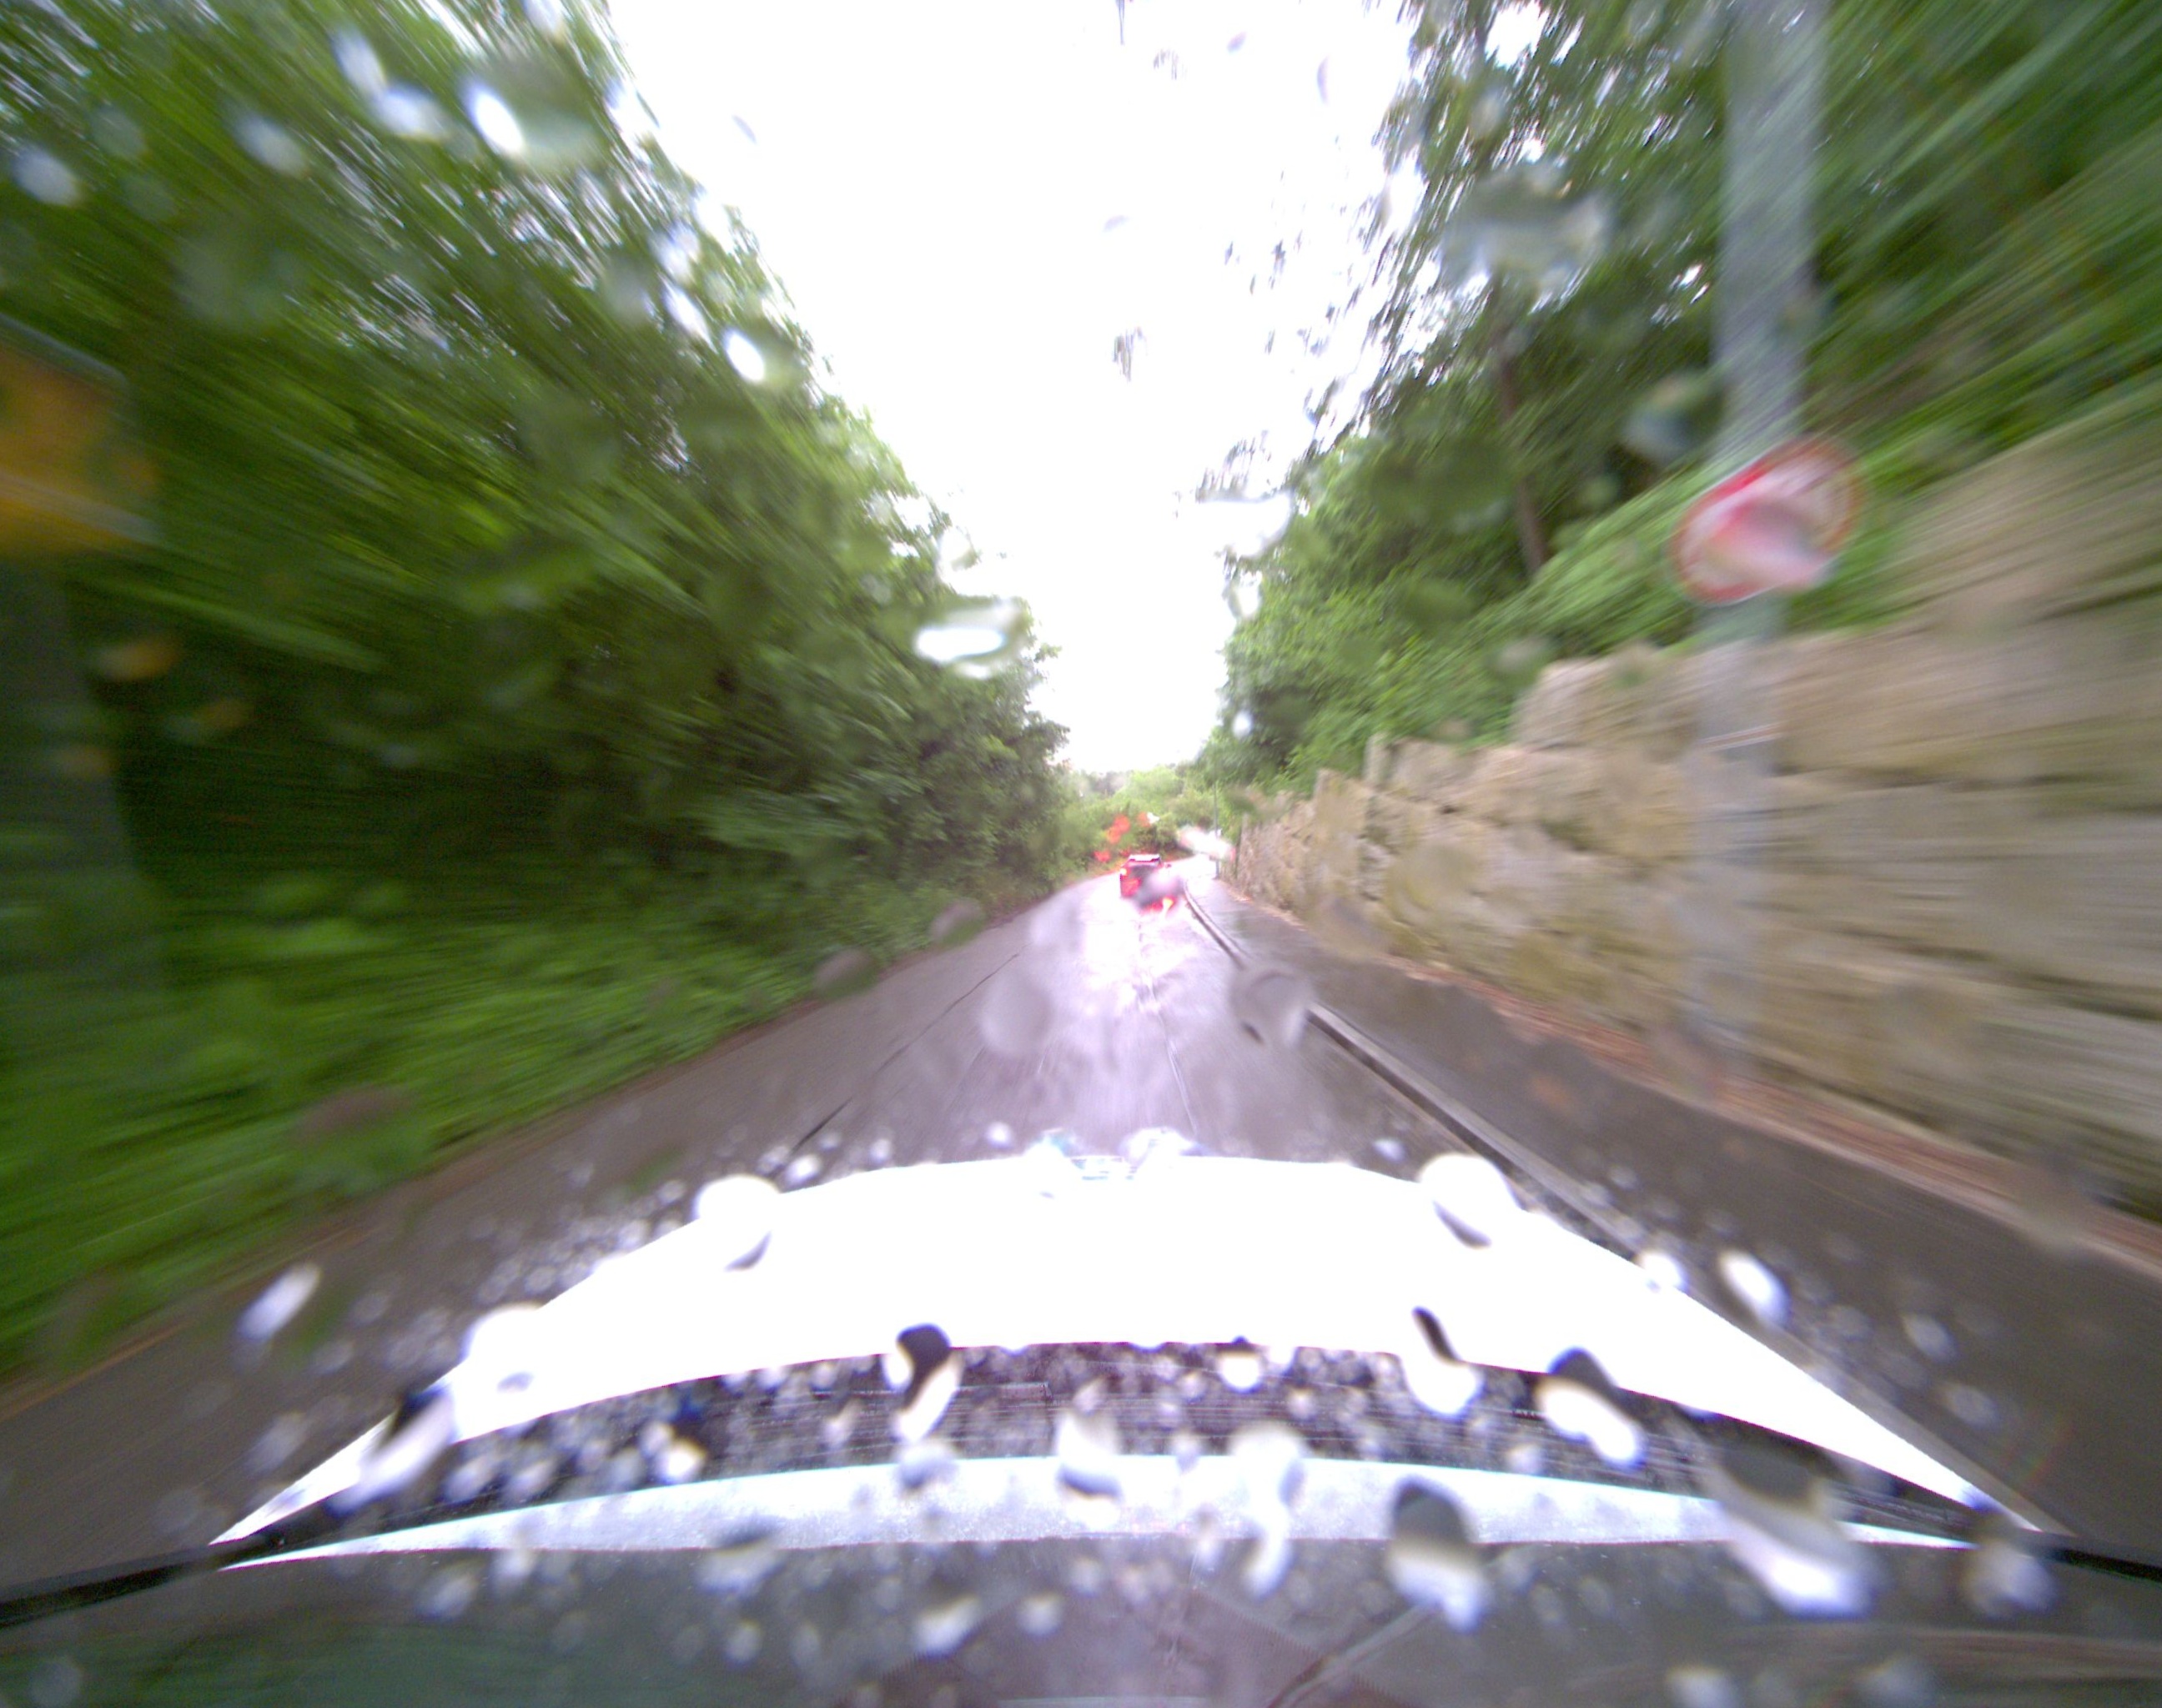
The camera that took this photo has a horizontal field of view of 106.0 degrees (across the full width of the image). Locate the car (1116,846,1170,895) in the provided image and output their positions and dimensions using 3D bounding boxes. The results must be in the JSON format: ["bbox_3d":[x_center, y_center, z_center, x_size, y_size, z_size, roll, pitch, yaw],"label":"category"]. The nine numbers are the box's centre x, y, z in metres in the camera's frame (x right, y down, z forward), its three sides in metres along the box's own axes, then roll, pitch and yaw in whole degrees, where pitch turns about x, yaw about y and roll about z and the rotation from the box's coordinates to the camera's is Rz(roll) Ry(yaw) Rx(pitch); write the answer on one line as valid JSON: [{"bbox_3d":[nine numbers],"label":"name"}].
[{"bbox_3d":[2.366,0.559,30.341,1.690,1.449,4.011,-2,4,8],"label":"car"}]

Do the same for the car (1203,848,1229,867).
[{"bbox_3d":[12.448,0.290,74.760,1.849,1.743,4.017,0,0,16],"label":"car"}]

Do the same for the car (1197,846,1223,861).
[{"bbox_3d":[13.578,-0.077,85.695,1.925,1.522,4.601,0,0,19],"label":"car"}]
